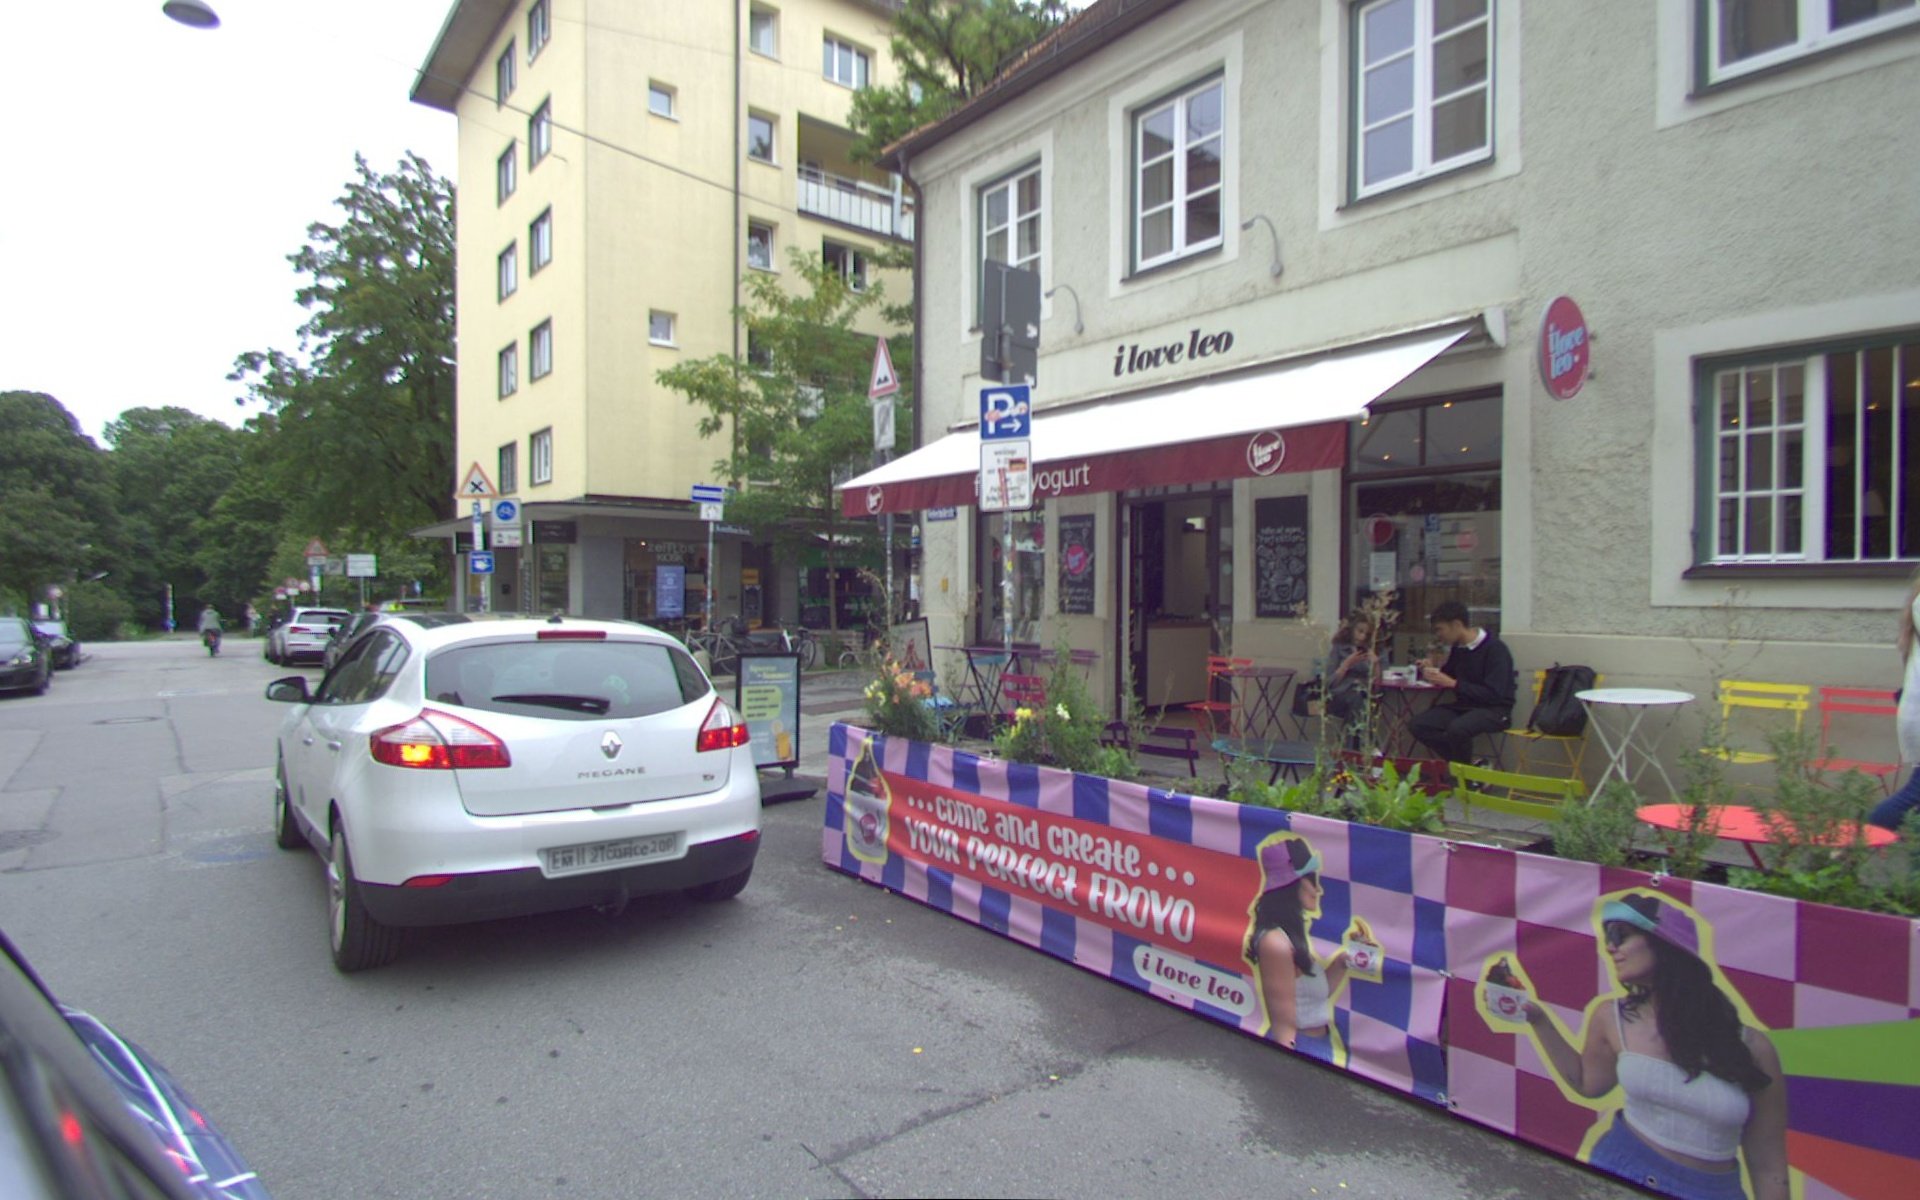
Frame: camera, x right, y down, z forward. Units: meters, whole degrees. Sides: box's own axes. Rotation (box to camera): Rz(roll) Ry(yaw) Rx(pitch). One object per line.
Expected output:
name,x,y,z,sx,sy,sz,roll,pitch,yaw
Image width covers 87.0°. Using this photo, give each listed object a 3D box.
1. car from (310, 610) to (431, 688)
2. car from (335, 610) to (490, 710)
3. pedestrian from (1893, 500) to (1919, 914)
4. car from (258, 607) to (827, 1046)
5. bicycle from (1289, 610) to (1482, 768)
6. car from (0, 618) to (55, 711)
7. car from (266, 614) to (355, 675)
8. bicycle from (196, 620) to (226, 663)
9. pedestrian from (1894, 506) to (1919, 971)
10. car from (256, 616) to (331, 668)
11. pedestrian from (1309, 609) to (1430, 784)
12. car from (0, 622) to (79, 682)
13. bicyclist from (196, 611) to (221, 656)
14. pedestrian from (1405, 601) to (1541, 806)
car,-12.715,0.981,21.724,1.685,1.511,4.008,0,-1,-39
car,-9.541,0.937,17.496,1.685,1.511,4.008,0,-1,-39
pedestrian,4.397,0.441,4.126,0.573,1.711,0.807,1,-1,-42
car,-2.493,0.776,5.394,1.765,1.428,3.912,2,-2,-39
bicycle,3.086,0.610,7.287,1.607,1.050,0.349,1,-1,-29
car,-17.581,1.104,18.205,1.685,1.511,4.008,0,-1,-39
car,-18.175,1.182,28.253,1.685,1.571,4.008,0,-1,-39
bicycle,-25.666,1.413,34.707,0.678,1.389,2.404,-1,0,-34
pedestrian,3.738,0.479,3.509,0.605,1.610,0.664,1,-1,-42
car,-21.865,1.309,33.150,1.685,1.571,4.008,0,-1,-39
pedestrian,3.038,0.692,7.530,0.501,1.222,0.596,-2,-2,-24
car,-25.913,1.409,28.337,1.685,1.511,4.008,0,-1,-39
bicyclist,-25.600,1.124,34.487,0.640,1.486,0.768,-1,0,-35
pedestrian,3.401,0.662,6.735,0.515,1.276,0.549,-2,-2,-24
